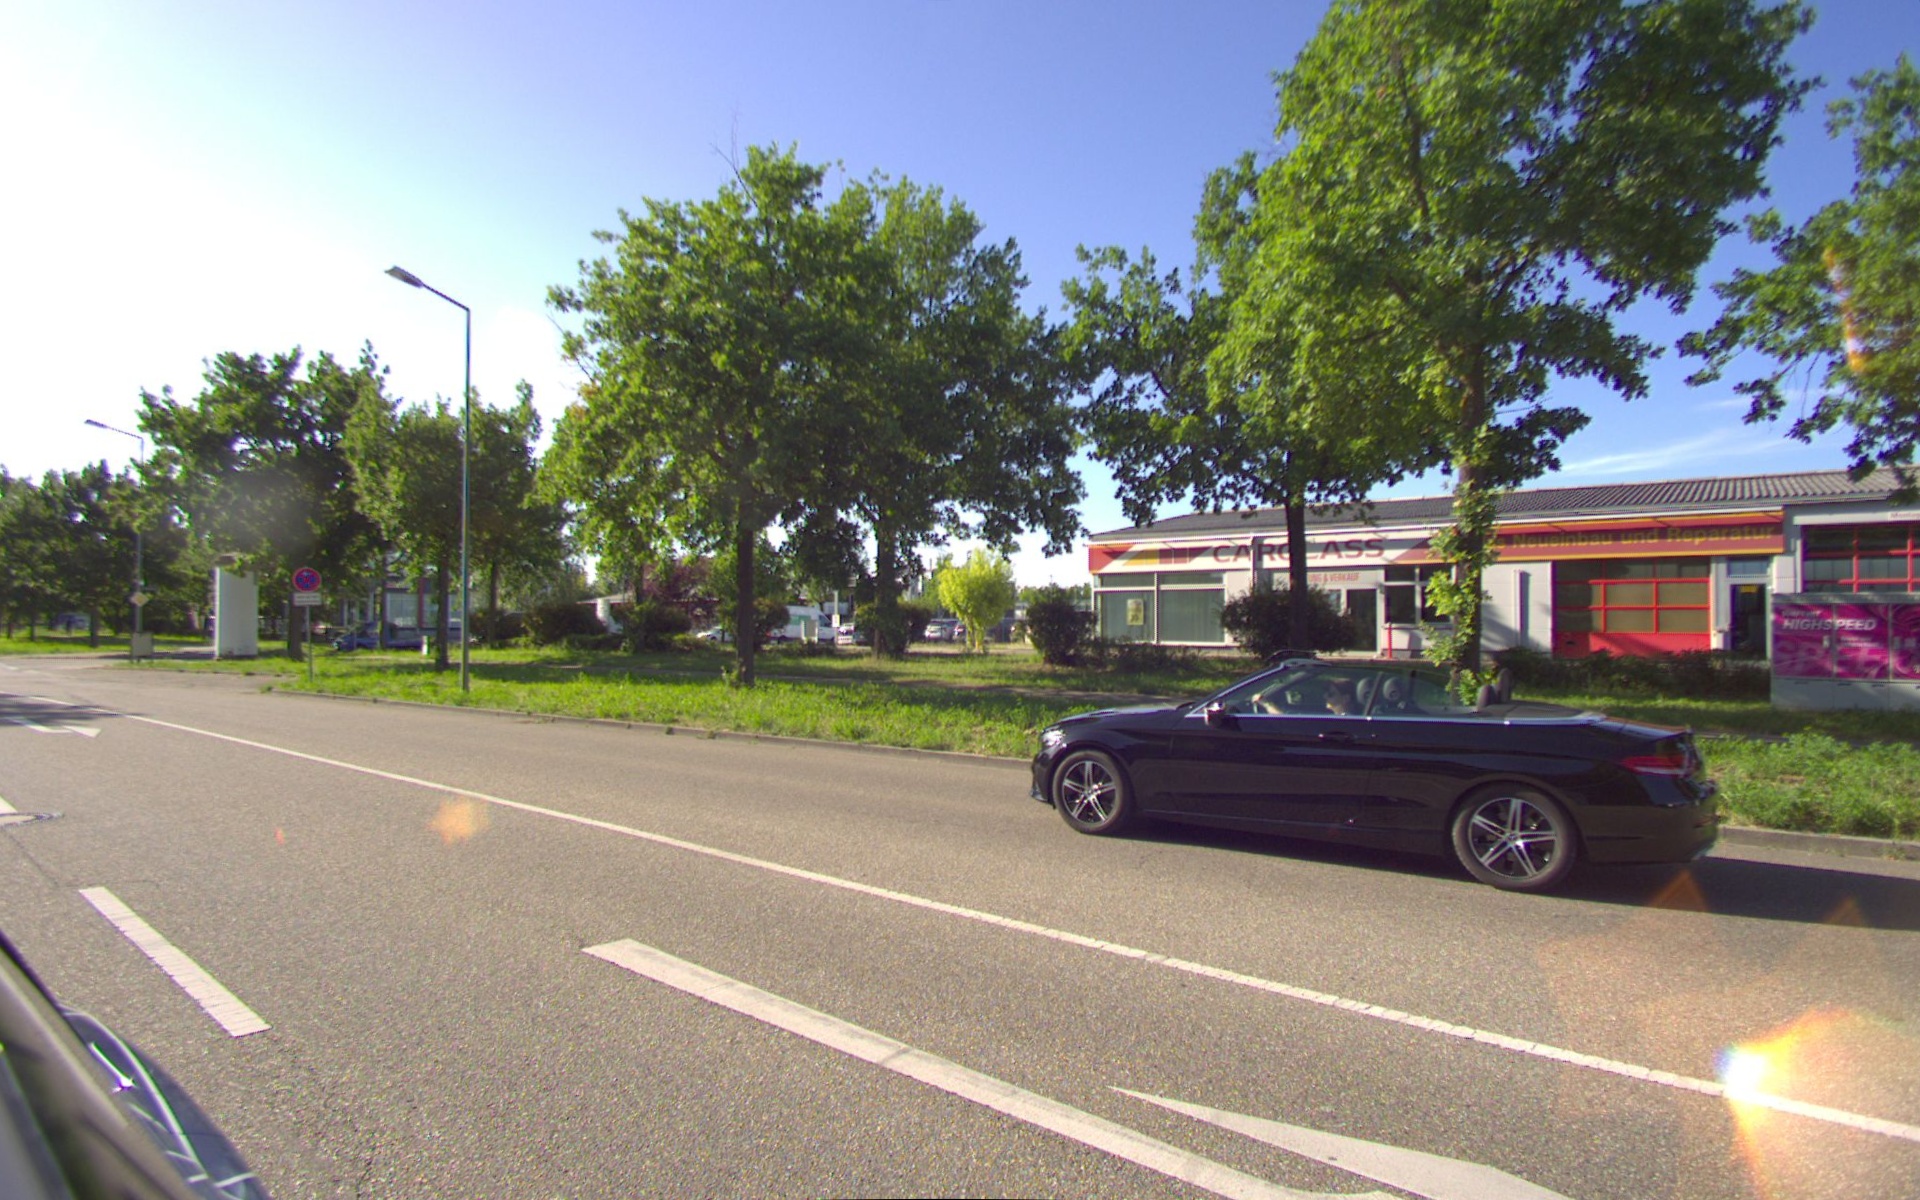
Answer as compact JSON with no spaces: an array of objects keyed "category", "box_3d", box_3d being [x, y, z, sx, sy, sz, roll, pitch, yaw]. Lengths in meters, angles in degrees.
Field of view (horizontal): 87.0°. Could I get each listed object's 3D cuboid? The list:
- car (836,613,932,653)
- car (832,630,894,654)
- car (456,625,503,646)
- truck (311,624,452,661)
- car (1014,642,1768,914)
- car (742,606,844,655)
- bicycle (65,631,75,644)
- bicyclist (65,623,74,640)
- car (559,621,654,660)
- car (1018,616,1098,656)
[{"category":"car","box_3d":[-4.069,1.783,55.185,2.297,2.085,5.359,-1,-2,37]},{"category":"car","box_3d":[-5.473,2.365,57.506,1.572,1.312,3.489,-1,-2,38]},{"category":"car","box_3d":[-40.490,2.999,85.274,4.296,1.505,1.973,1,1,40]},{"category":"truck","box_3d":[-34.489,2.549,60.606,2.138,2.065,7.043,0,-2,38]},{"category":"car","box_3d":[2.869,1.055,7.444,4.574,1.414,1.977,-1,-5,33]},{"category":"car","box_3d":[-9.847,1.745,60.272,2.297,2.723,6.102,-1,0,37]},{"category":"bicycle","box_3d":[-87.993,3.682,100.018,2.334,1.170,0.545,-1,0,44]},{"category":"bicyclist","box_3d":[-88.110,3.103,100.115,0.659,1.641,0.656,-1,0,43]},{"category":"car","box_3d":[-25.457,2.853,73.021,2.297,2.535,6.280,-1,0,37]},{"category":"car","box_3d":[3.901,1.378,39.750,1.590,1.509,3.564,-1,-1,36]}]
